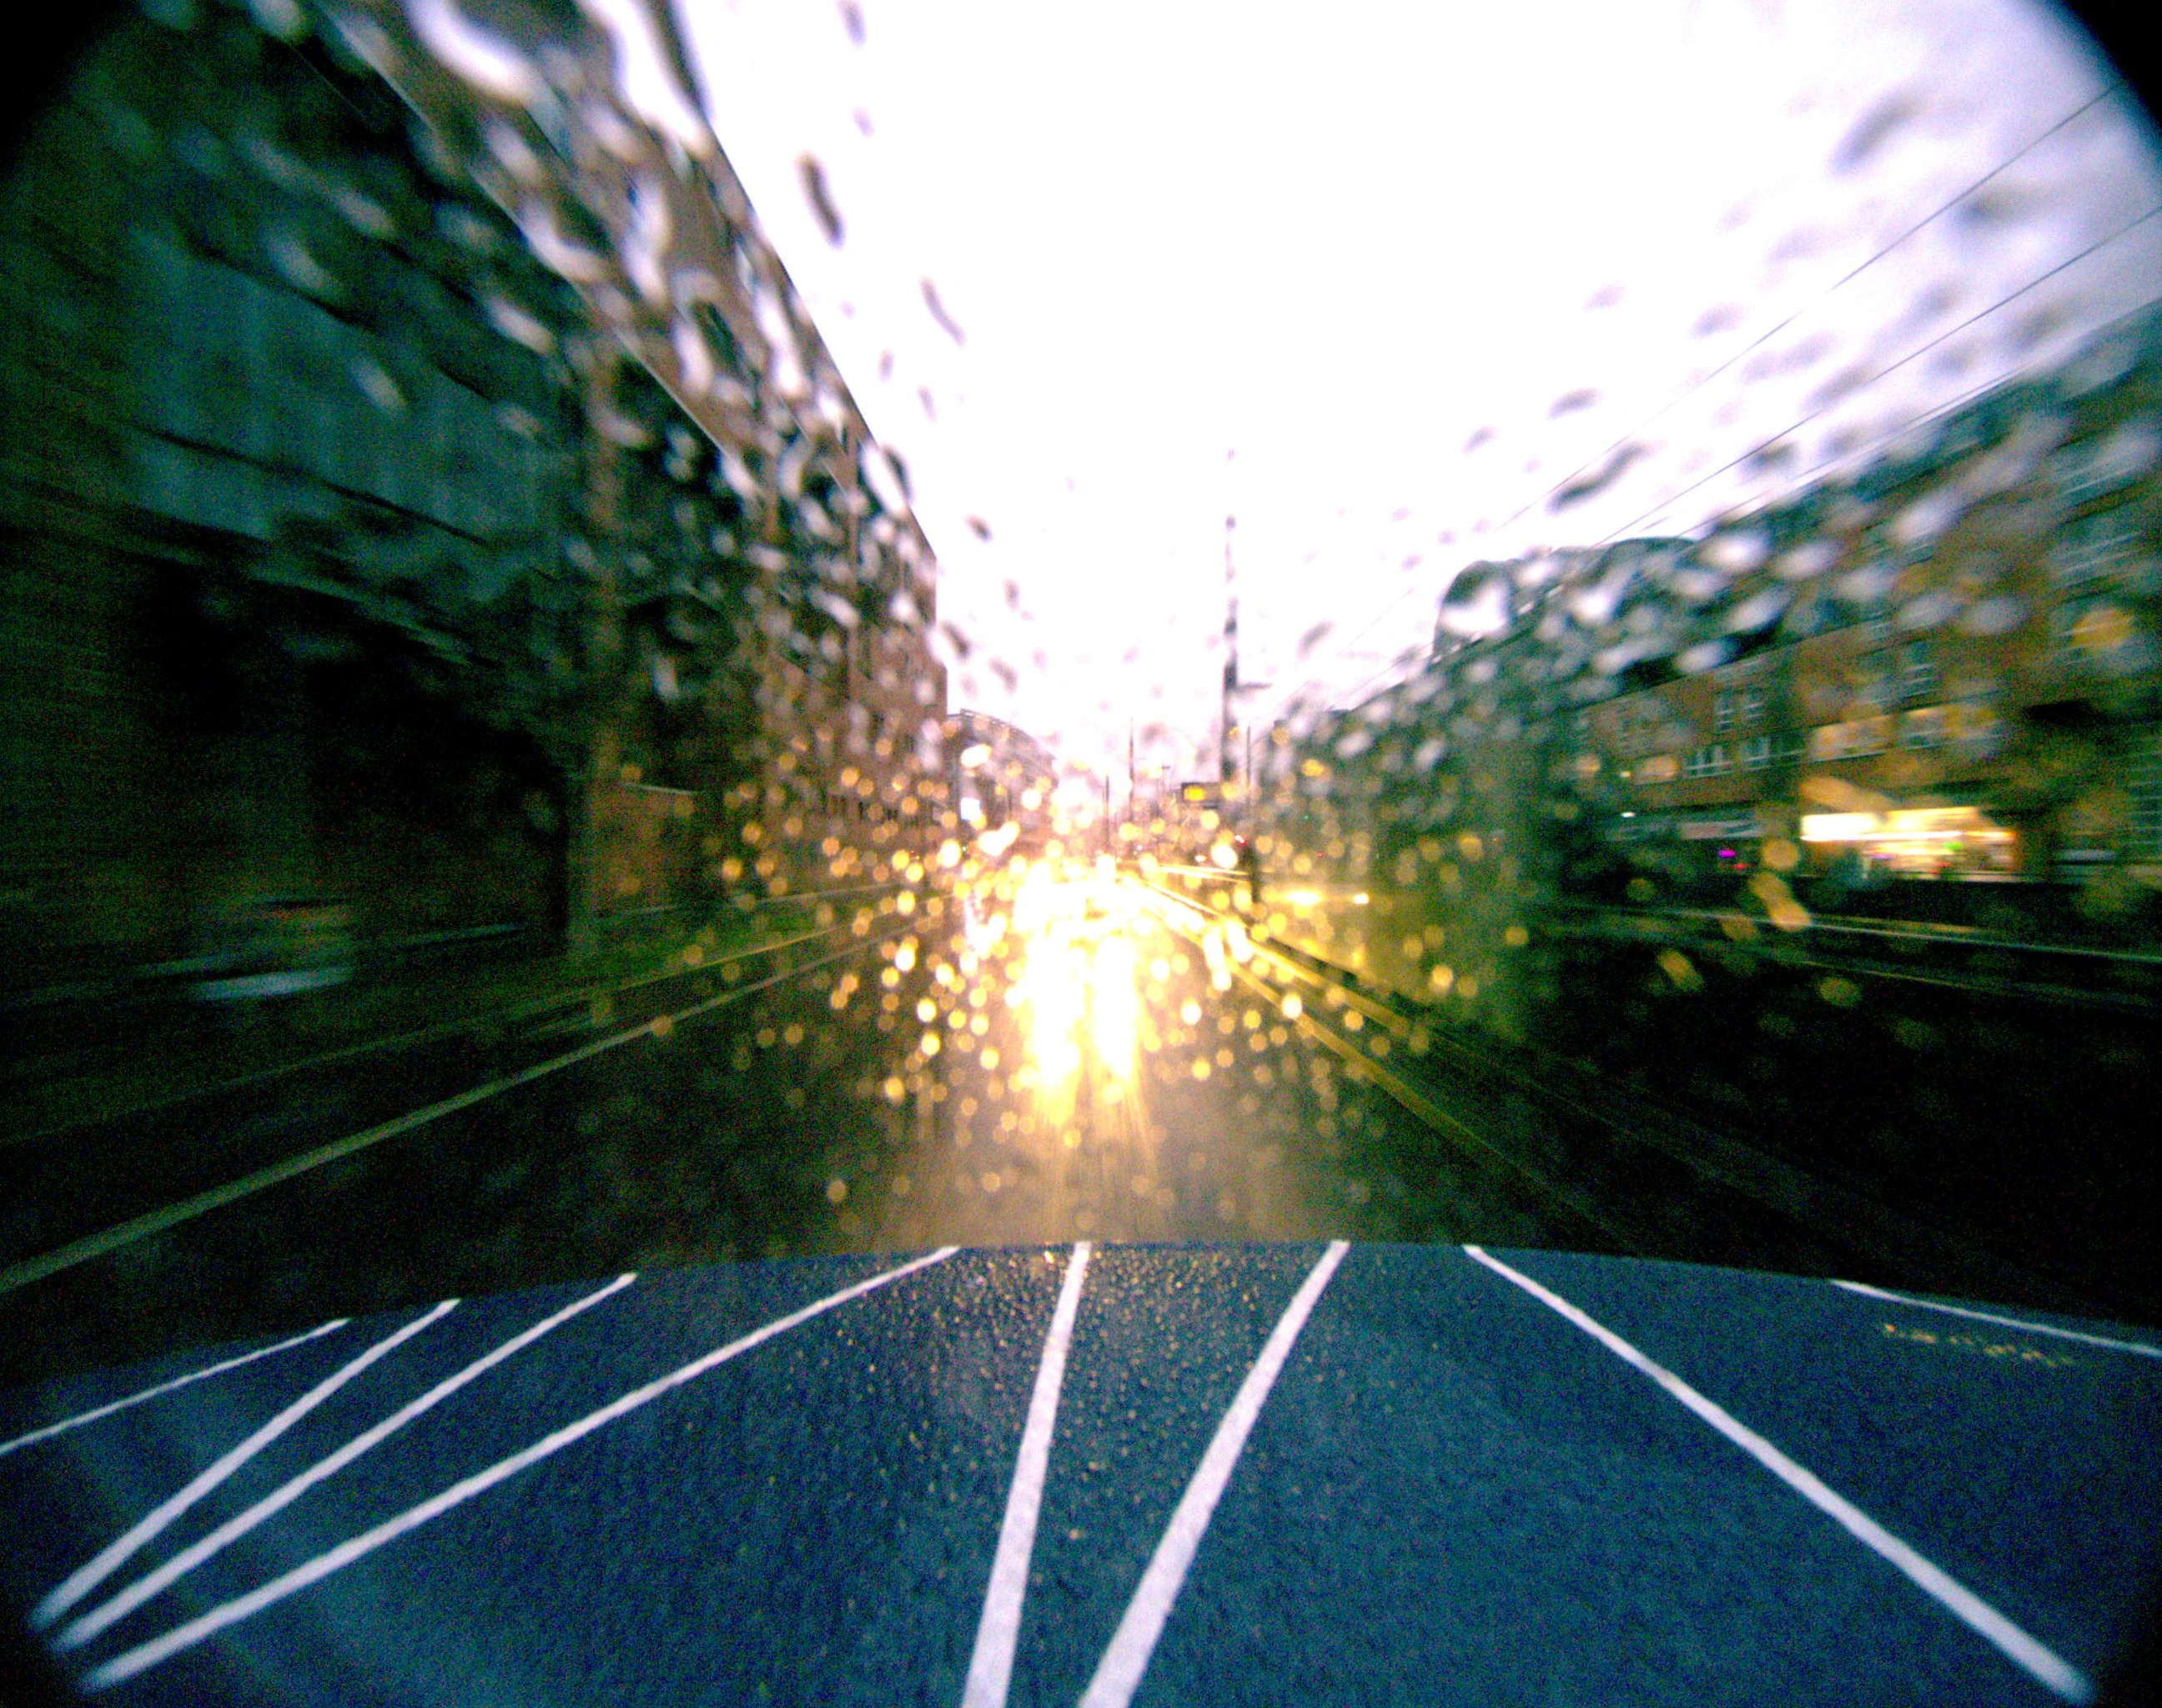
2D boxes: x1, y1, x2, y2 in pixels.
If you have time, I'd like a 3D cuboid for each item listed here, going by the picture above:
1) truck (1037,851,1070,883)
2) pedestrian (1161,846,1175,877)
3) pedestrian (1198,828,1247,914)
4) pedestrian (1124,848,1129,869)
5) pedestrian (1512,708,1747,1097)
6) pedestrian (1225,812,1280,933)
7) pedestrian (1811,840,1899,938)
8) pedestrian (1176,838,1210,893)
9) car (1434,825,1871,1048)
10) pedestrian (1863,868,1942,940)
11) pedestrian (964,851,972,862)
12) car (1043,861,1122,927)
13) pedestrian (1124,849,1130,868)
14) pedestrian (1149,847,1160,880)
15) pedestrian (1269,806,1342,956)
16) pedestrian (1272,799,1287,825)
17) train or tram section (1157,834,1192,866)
[{"bbox_3d":[-1.746,0.805,49.009,1.909,1.906,4.617,-2,0,0],"label":"truck"},{"bbox_3d":[4.473,0.360,38.928,0.620,1.581,0.622,-1,1,-2],"label":"pedestrian"},{"bbox_3d":[3.289,0.380,17.664,0.802,1.936,0.814,0,1,40],"label":"pedestrian"},{"bbox_3d":[4.331,0.404,72.041,0.434,1.956,0.473,-1,1,-4],"label":"pedestrian"},{"bbox_3d":[3.207,0.262,4.522,0.812,2.098,0.804,0,0,-2],"label":"pedestrian"},{"bbox_3d":[3.052,0.321,13.605,0.811,2.098,0.804,0,0,1],"label":"pedestrian"},{"bbox_3d":[12.451,0.551,12.242,0.636,1.515,0.756,-2,1,1],"label":"pedestrian"},{"bbox_3d":[3.529,0.357,24.019,0.779,1.694,0.772,-1,1,-18],"label":"pedestrian"},{"bbox_3d":[4.501,0.544,6.581,1.435,1.433,3.136,-2,0,1],"label":"car"},{"bbox_3d":[13.041,0.778,12.077,0.608,1.096,0.591,-2,1,1],"label":"pedestrian"},{"bbox_3d":[-18.224,0.385,122.421,1.152,1.776,0.777,0,1,-9],"label":"pedestrian"},{"bbox_3d":[0.035,0.943,19.594,1.774,1.449,4.221,-2,0,0],"label":"car"},{"bbox_3d":[4.467,0.456,73.680,0.413,1.835,0.669,-1,1,-4],"label":"pedestrian"},{"bbox_3d":[3.785,0.487,38.927,0.482,1.669,0.563,-1,1,-2],"label":"pedestrian"},{"bbox_3d":[3.251,0.381,11.062,0.812,2.098,0.804,0,0,-2],"label":"pedestrian"},{"bbox_3d":[14.544,-3.088,55.655,0.794,1.875,0.883,0,1,-2],"label":"pedestrian"},{"bbox_3d":[10.949,-0.473,90.127,2.907,3.547,11.035,-2,0,1],"label":"train or tram section"}]
